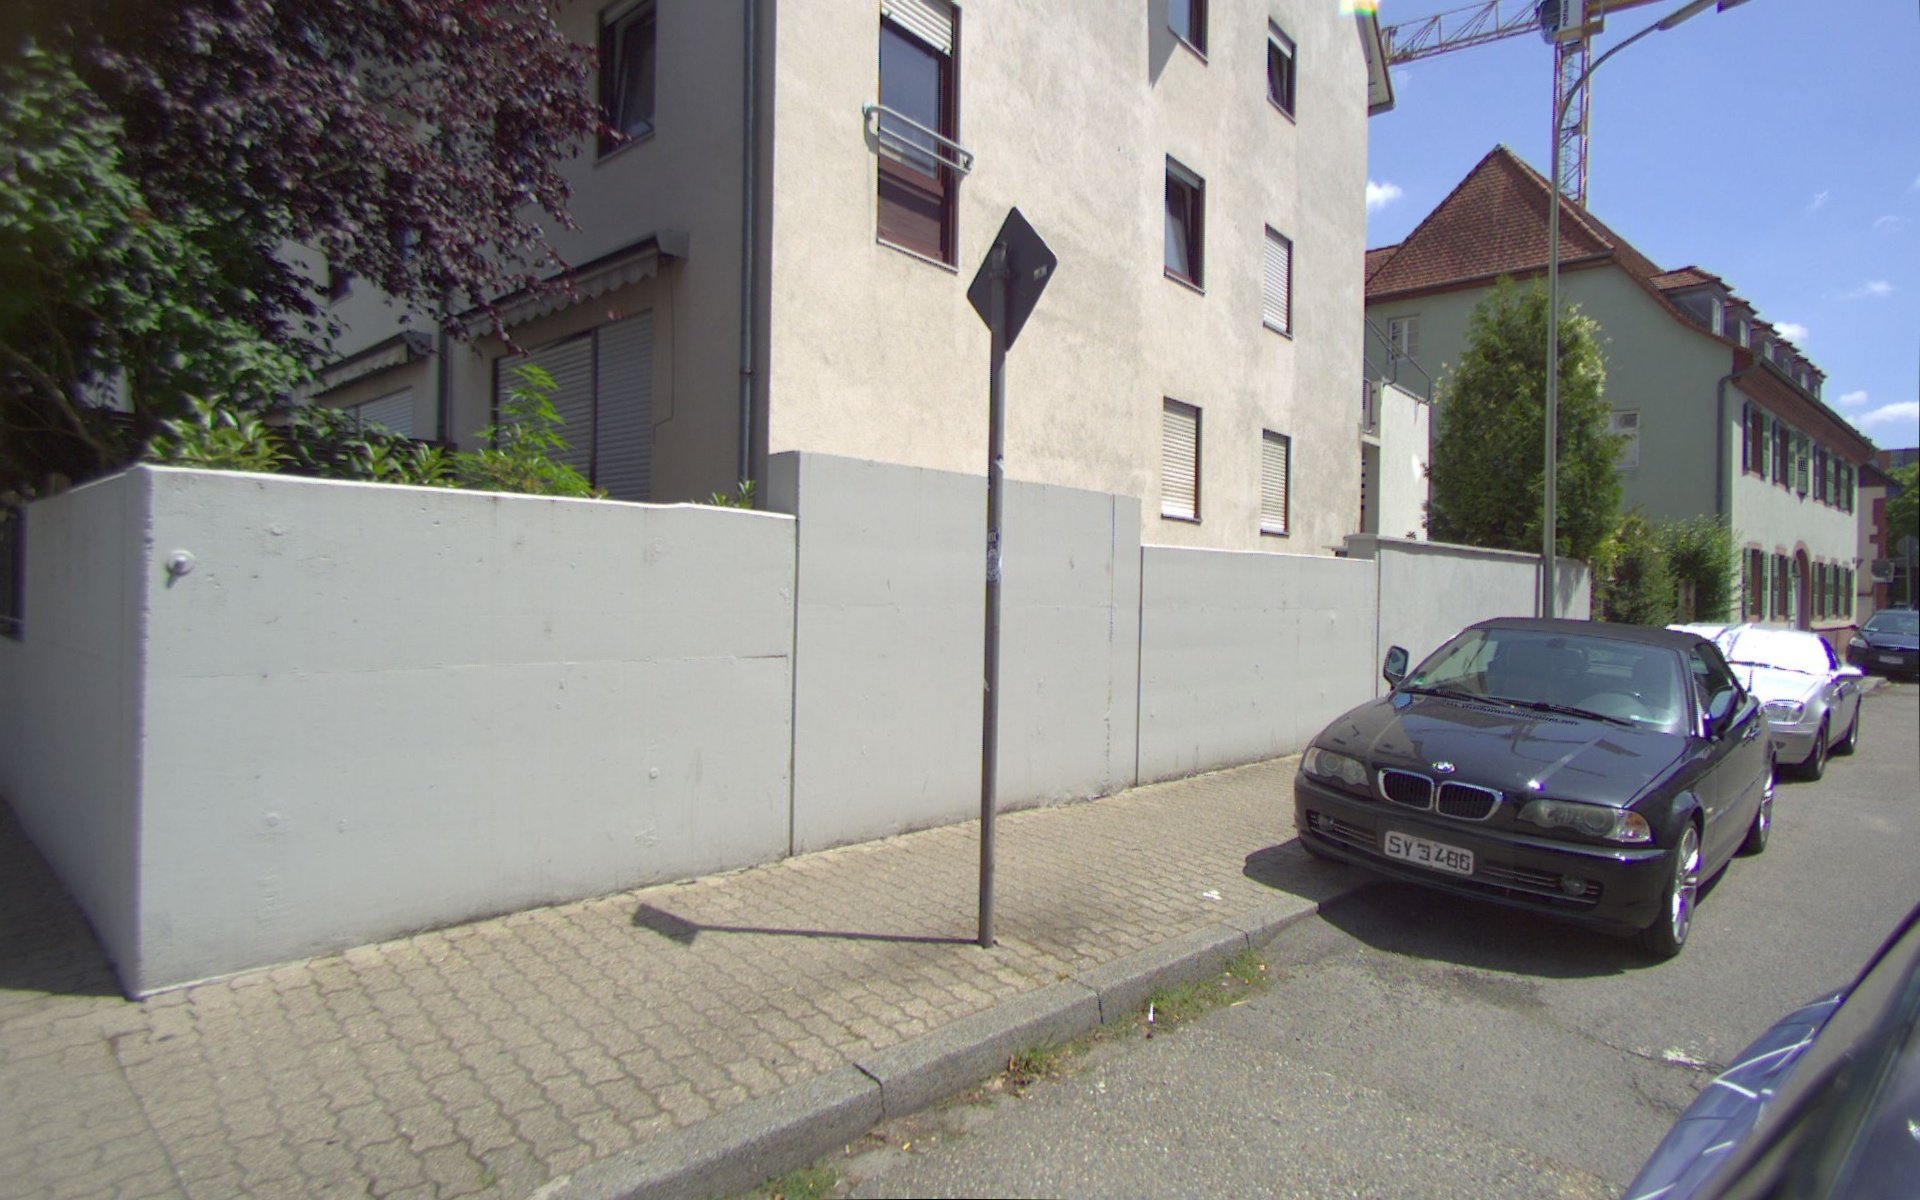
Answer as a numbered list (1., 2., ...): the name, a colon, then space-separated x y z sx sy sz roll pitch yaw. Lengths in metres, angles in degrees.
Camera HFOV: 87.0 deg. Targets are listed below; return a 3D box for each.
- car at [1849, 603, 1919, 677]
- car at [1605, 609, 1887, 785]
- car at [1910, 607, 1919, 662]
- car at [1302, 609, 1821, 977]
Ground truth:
1. car: 21.647 0.867 22.819 3.929 1.534 1.850 1 0 -40
2. car: 8.048 0.819 10.243 3.756 1.370 1.588 0 2 -42
3. car: 28.557 0.998 28.967 3.931 1.517 1.649 1 0 -42
4. car: 3.807 0.775 6.029 4.169 1.393 1.657 0 1 -45
